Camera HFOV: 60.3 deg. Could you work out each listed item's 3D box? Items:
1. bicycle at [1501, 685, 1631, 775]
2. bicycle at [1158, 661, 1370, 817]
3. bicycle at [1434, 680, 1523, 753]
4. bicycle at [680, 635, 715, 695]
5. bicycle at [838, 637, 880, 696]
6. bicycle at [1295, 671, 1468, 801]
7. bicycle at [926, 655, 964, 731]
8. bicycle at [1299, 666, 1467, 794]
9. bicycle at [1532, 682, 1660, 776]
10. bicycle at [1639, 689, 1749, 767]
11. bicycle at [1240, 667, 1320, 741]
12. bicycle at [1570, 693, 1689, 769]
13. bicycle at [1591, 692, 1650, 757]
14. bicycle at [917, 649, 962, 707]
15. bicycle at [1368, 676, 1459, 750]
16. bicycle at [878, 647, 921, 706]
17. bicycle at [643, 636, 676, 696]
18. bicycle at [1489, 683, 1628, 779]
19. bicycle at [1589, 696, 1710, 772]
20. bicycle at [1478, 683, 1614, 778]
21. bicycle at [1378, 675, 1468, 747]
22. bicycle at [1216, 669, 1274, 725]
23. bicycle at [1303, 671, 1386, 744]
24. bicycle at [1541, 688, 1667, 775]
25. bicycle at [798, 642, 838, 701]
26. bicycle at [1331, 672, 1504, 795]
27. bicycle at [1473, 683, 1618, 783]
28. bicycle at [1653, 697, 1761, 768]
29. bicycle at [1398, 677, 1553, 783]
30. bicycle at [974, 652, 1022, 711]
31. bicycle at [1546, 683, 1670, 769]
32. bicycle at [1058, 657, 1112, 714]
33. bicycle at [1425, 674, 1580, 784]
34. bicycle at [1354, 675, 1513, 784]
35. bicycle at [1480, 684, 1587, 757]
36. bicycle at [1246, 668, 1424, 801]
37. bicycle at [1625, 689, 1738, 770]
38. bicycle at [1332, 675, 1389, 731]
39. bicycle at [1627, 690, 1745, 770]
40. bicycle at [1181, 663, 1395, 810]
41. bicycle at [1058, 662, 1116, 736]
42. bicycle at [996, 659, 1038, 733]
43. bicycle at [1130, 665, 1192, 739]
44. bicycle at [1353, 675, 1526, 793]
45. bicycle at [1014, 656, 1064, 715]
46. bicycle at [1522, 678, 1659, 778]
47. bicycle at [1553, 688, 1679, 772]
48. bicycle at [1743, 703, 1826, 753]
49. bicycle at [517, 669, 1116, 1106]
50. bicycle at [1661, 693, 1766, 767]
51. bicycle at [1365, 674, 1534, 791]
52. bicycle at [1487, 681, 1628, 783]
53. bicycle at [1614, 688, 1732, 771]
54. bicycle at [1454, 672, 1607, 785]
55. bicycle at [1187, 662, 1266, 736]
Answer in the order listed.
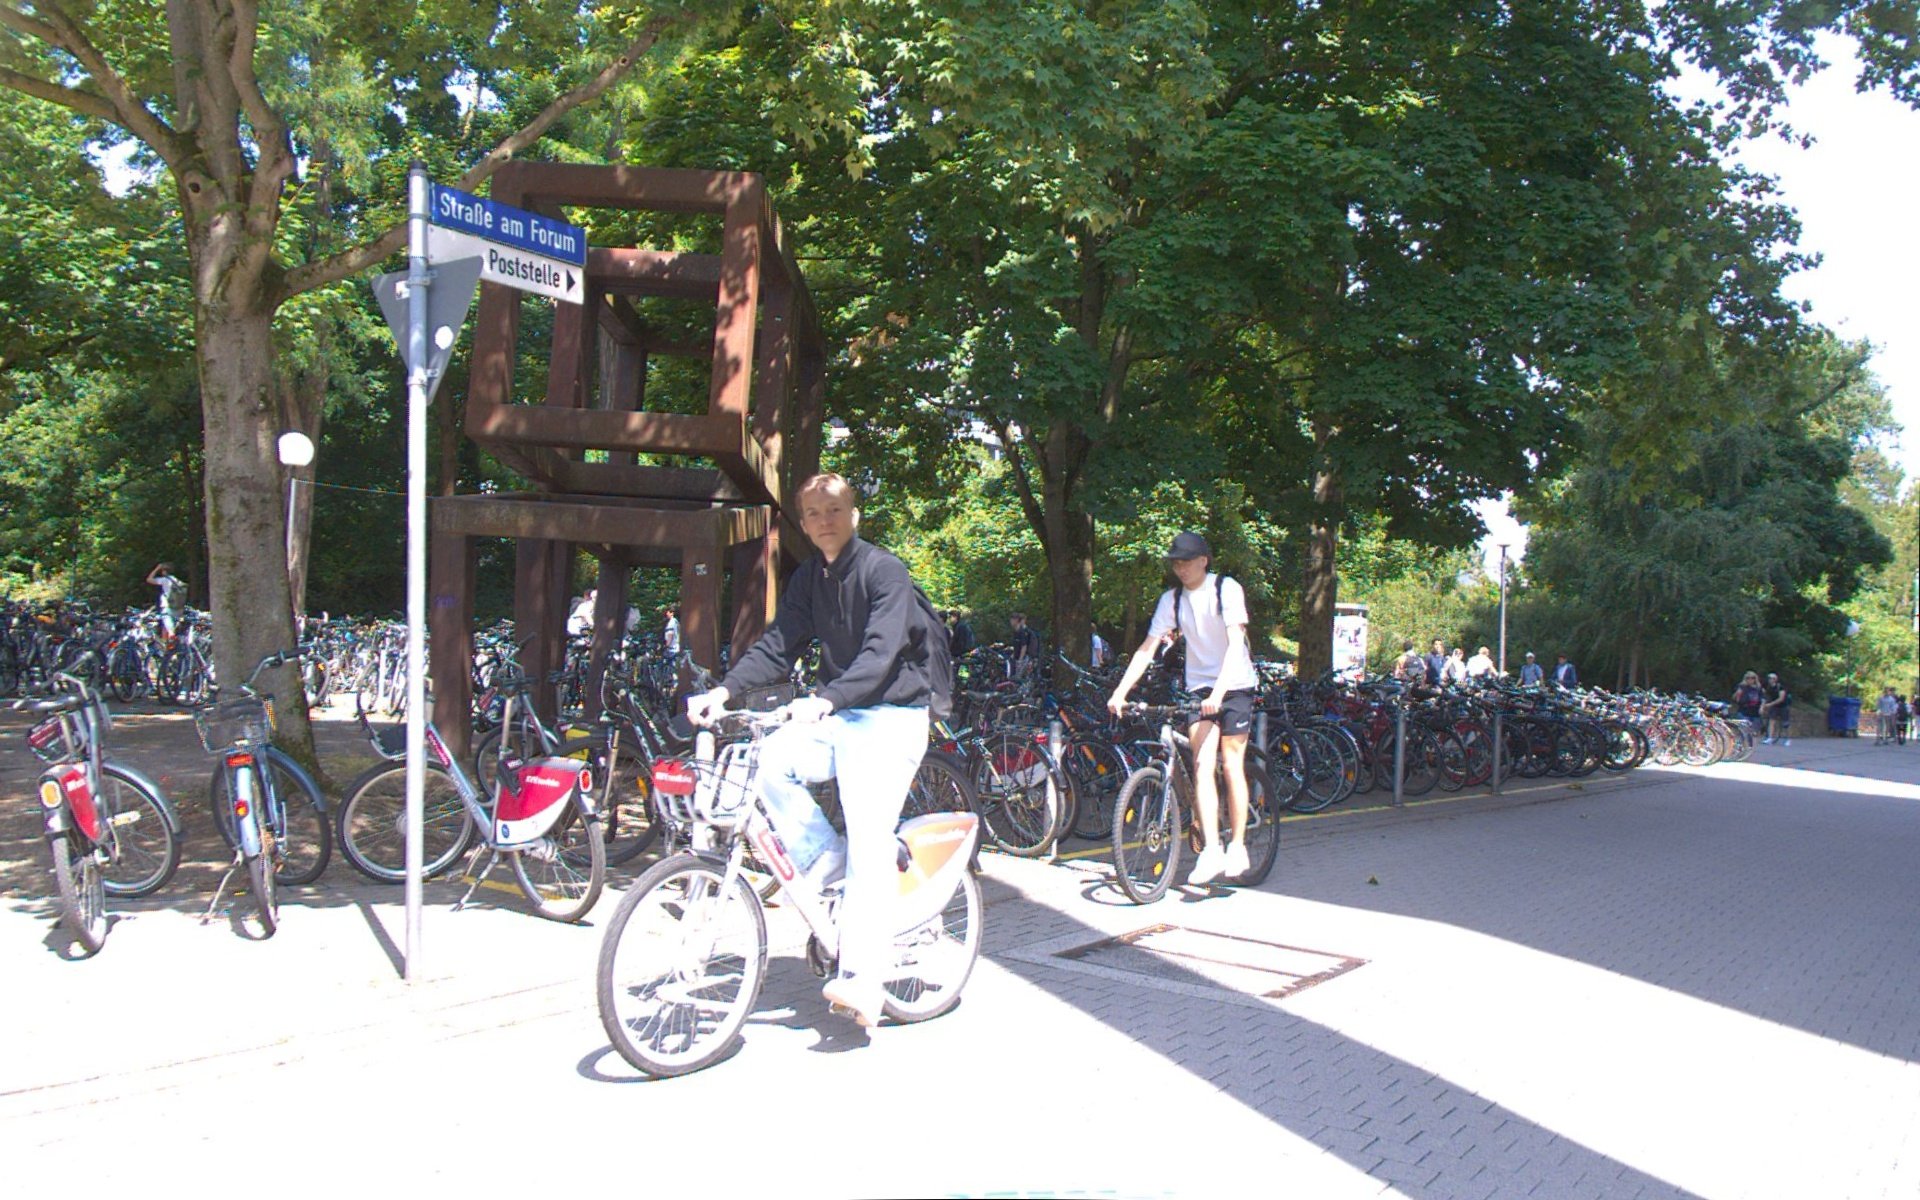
[{"bbox_3d":[8.678,1.847,23.688,1.660,1.127,0.565,3,-2,24],"label":"bicycle"},{"bbox_3d":[2.507,1.132,13.704,1.594,1.127,0.496,3,-2,30],"label":"bicycle"},{"bbox_3d":[8.785,1.962,28.083,0.465,1.102,1.690,5,-2,-19],"label":"bicycle"},{"bbox_3d":[-5.310,1.294,33.407,0.507,1.129,1.772,4,-2,-13],"label":"bicycle"},{"bbox_3d":[-2.097,1.364,34.263,0.507,1.129,1.772,4,-2,-13],"label":"bicycle"},{"bbox_3d":[4.110,1.312,16.225,0.492,1.127,1.605,6,-2,-41],"label":"bicycle"},{"bbox_3d":[-0.243,1.439,25.965,0.463,1.102,1.698,4,-2,-3],"label":"bicycle"},{"bbox_3d":[4.287,1.305,16.848,0.492,1.164,1.605,6,-2,-41],"label":"bicycle"},{"bbox_3d":[9.218,1.852,23.980,1.660,1.208,0.474,3,-2,24],"label":"bicycle"},{"bbox_3d":[12.711,2.206,28.667,1.662,1.189,0.473,3,-2,29],"label":"bicycle"},{"bbox_3d":[5.280,1.707,27.395,0.465,1.102,1.690,5,-2,-19],"label":"bicycle"},{"bbox_3d":[10.696,2.085,26.435,1.660,1.080,0.474,4,-2,0],"label":"bicycle"},{"bbox_3d":[11.767,2.222,29.438,0.499,1.102,1.692,2,-3,37],"label":"bicycle"},{"bbox_3d":[-0.438,1.618,34.639,0.507,1.129,1.772,4,-2,-13],"label":"bicycle"},{"bbox_3d":[7.532,1.862,27.529,0.466,1.102,1.687,5,-2,-23],"label":"bicycle"},{"bbox_3d":[-1.280,1.586,34.598,0.507,1.129,1.772,4,-2,-13],"label":"bicycle"},{"bbox_3d":[-6.043,1.314,33.208,0.507,1.129,1.772,4,-2,-13],"label":"bicycle"},{"bbox_3d":[7.960,1.730,22.000,1.660,1.127,0.474,3,-2,23],"label":"bicycle"},{"bbox_3d":[10.797,2.096,25.930,1.660,1.036,0.474,4,-2,0],"label":"bicycle"},{"bbox_3d":[7.950,1.761,22.461,1.660,1.127,0.474,3,-2,24],"label":"bicycle"},{"bbox_3d":[7.833,1.871,28.064,0.466,1.102,1.687,5,-2,-23],"label":"bicycle"},{"bbox_3d":[6.268,2.127,36.451,0.465,1.129,1.770,4,-2,-16],"label":"bicycle"},{"bbox_3d":[6.412,1.782,27.626,0.465,1.102,1.690,5,-2,-19],"label":"bicycle"},{"bbox_3d":[9.502,1.932,24.419,1.660,1.127,0.582,3,-2,24],"label":"bicycle"},{"bbox_3d":[-2.923,1.460,33.998,0.507,1.129,1.772,4,-2,-13],"label":"bicycle"},{"bbox_3d":[4.761,1.375,17.306,0.568,1.127,1.719,5,-2,-36],"label":"bicycle"},{"bbox_3d":[7.480,1.684,21.141,1.661,1.127,0.496,3,-2,25],"label":"bicycle"},{"bbox_3d":[13.204,2.334,29.239,1.662,1.110,0.473,3,-2,29],"label":"bicycle"},{"bbox_3d":[6.209,1.551,19.934,1.700,1.127,0.497,3,-2,23],"label":"bicycle"},{"bbox_3d":[0.791,1.693,34.620,0.507,1.129,1.772,4,-2,-13],"label":"bicycle"},{"bbox_3d":[9.972,1.938,25.486,1.658,1.177,0.474,4,-2,8],"label":"bicycle"},{"bbox_3d":[2.640,1.801,35.096,0.507,1.129,1.770,4,-2,-16],"label":"bicycle"},{"bbox_3d":[6.693,1.575,20.435,1.705,1.199,0.495,3,-2,35],"label":"bicycle"},{"bbox_3d":[5.531,1.507,19.373,1.698,1.127,0.497,4,-2,11],"label":"bicycle"},{"bbox_3d":[9.761,2.048,28.196,0.470,1.102,1.674,6,-2,-41],"label":"bicycle"},{"bbox_3d":[3.592,1.275,15.939,0.558,1.127,1.605,6,-2,-41],"label":"bicycle"},{"bbox_3d":[11.905,2.132,27.332,1.660,1.189,0.474,3,-2,23],"label":"bicycle"},{"bbox_3d":[8.839,2.256,36.567,0.464,1.129,1.773,4,-2,-11],"label":"bicycle"},{"bbox_3d":[12.254,2.182,27.950,0.470,1.189,1.754,6,-2,-42],"label":"bicycle"},{"bbox_3d":[2.876,1.184,14.613,0.713,1.127,1.699,6,-3,-44],"label":"bicycle"},{"bbox_3d":[2.042,1.580,26.794,0.464,1.102,1.695,4,-2,-10],"label":"bicycle"},{"bbox_3d":[0.892,1.513,26.338,0.463,1.102,1.698,4,-2,-3],"label":"bicycle"},{"bbox_3d":[3.251,1.645,26.856,0.464,1.102,1.695,4,-2,-10],"label":"bicycle"},{"bbox_3d":[5.218,1.441,18.045,1.706,1.127,0.495,3,-2,35],"label":"bicycle"},{"bbox_3d":[1.649,1.783,34.805,0.507,1.129,1.772,4,-2,-13],"label":"bicycle"},{"bbox_3d":[8.645,1.740,22.703,1.661,1.219,0.536,3,-2,27],"label":"bicycle"},{"bbox_3d":[9.911,1.954,25.023,1.658,1.127,0.474,4,-2,8],"label":"bicycle"},{"bbox_3d":[20.776,3.222,41.680,1.801,1.129,0.474,4,-2,1],"label":"bicycle"},{"bbox_3d":[-0.406,0.861,5.438,1.869,1.160,0.665,5,-1,-41],"label":"bicycle"},{"bbox_3d":[13.487,2.320,29.614,1.661,1.179,0.473,3,-2,27],"label":"bicycle"},{"bbox_3d":[5.492,1.472,18.607,1.703,1.146,0.496,3,-2,31],"label":"bicycle"},{"bbox_3d":[7.786,1.706,21.564,1.660,1.165,0.474,3,-2,23],"label":"bicycle"},{"bbox_3d":[11.581,2.093,26.901,1.659,1.189,0.474,3,-2,18],"label":"bicycle"},{"bbox_3d":[7.162,1.603,20.786,1.702,1.257,0.496,3,-2,28],"label":"bicycle"},{"bbox_3d":[4.313,1.594,26.888,0.465,1.102,1.690,5,-2,-19],"label":"bicycle"}]
